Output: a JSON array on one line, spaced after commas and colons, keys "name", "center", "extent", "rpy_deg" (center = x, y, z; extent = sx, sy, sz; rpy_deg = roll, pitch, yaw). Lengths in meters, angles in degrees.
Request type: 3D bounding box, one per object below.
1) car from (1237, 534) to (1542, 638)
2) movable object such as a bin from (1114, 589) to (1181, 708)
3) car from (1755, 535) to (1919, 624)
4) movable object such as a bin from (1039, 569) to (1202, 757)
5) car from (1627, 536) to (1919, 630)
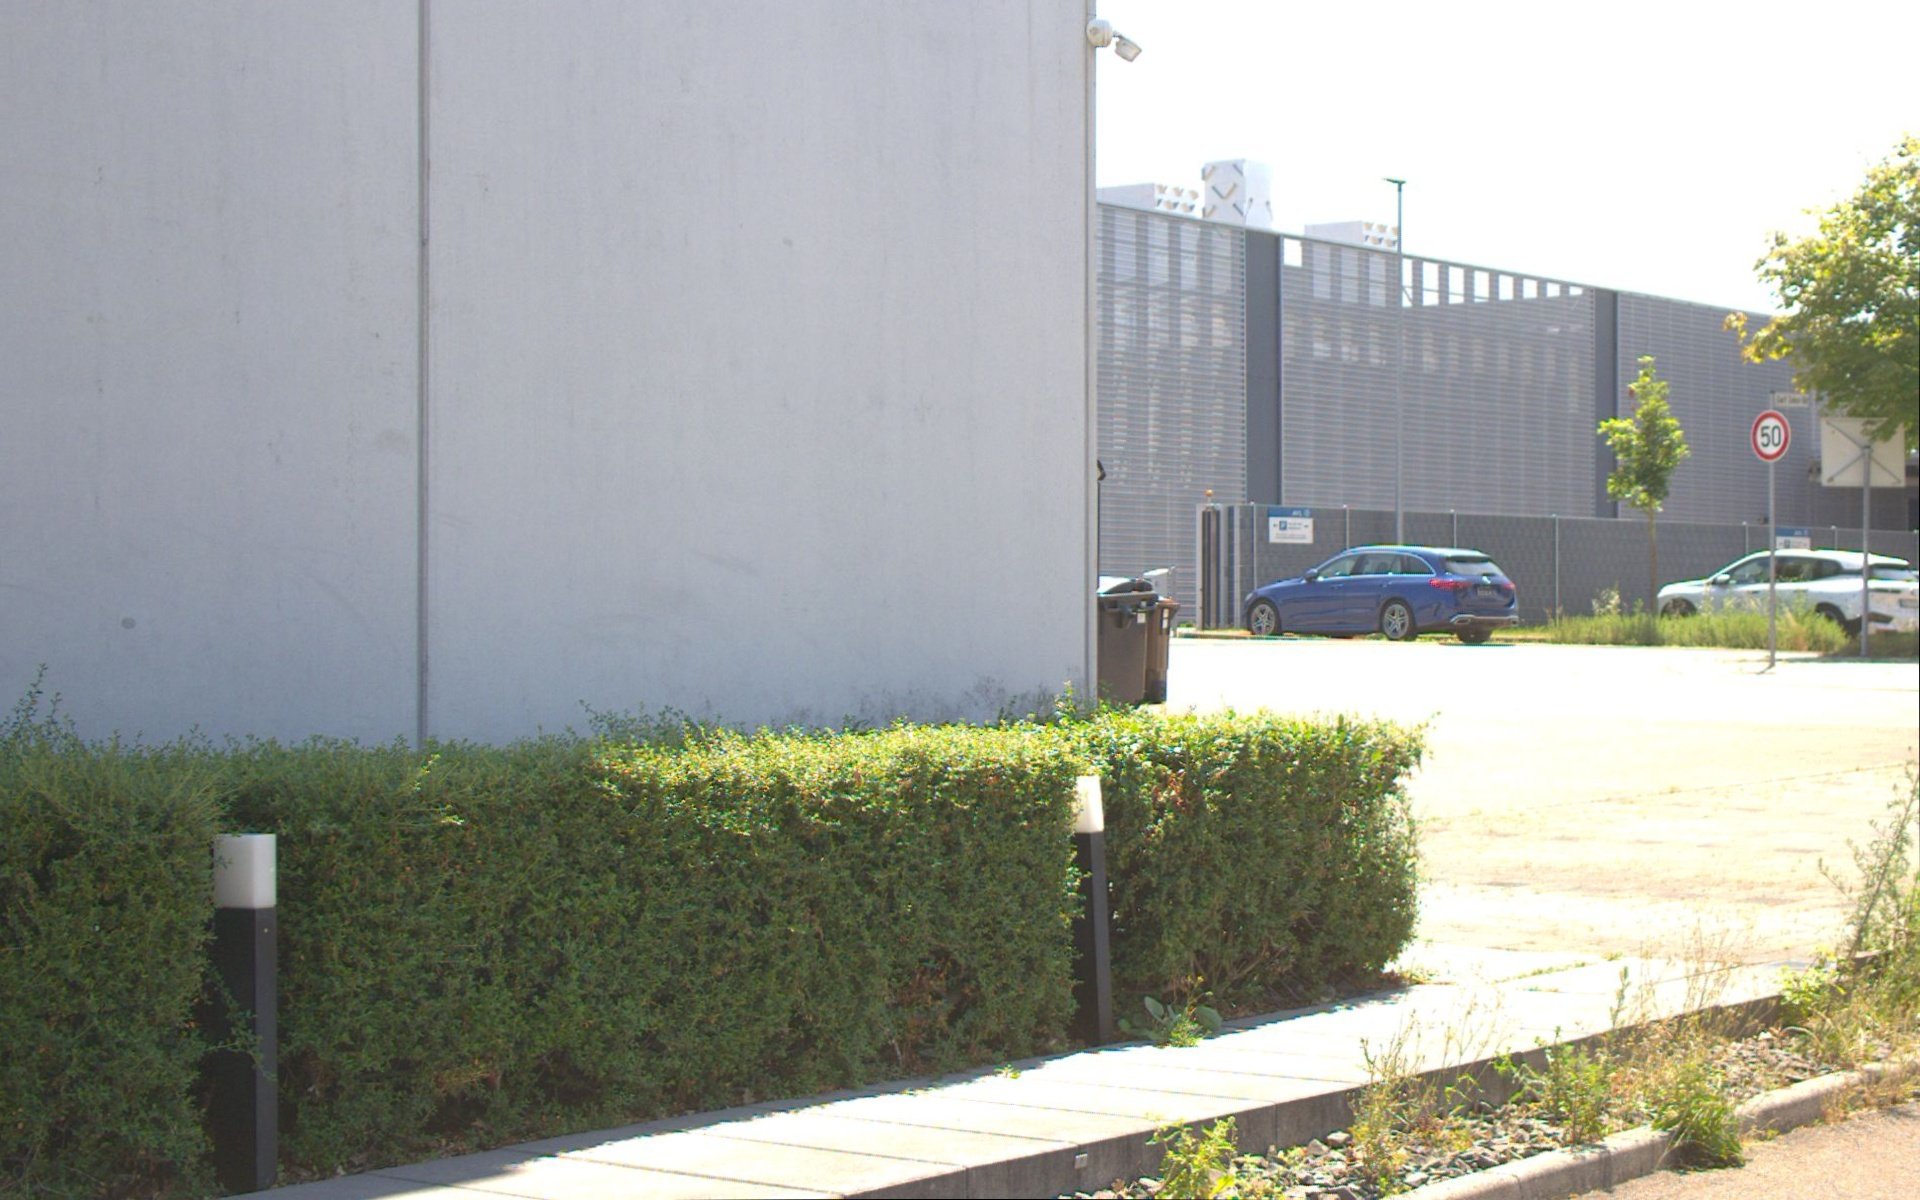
[{"name": "car", "center": [6.509, -0.250, 52.492], "extent": [1.994, 1.486, 4.513], "rpy_deg": [-1, 2, -39]}, {"name": "movable object such as a bin", "center": [1.639, 0.419, 30.010], "extent": [0.577, 1.033, 0.425], "rpy_deg": [0, 0, 4]}, {"name": "car", "center": [16.574, -0.367, 60.438], "extent": [1.994, 1.486, 4.853], "rpy_deg": [-1, 2, -39]}, {"name": "movable object such as a bin", "center": [1.177, 0.447, 25.146], "extent": [0.813, 1.340, 0.882], "rpy_deg": [0, 0, 43]}, {"name": "car", "center": [13.952, -0.328, 58.838], "extent": [1.994, 1.486, 4.853], "rpy_deg": [-1, 2, -39]}]
